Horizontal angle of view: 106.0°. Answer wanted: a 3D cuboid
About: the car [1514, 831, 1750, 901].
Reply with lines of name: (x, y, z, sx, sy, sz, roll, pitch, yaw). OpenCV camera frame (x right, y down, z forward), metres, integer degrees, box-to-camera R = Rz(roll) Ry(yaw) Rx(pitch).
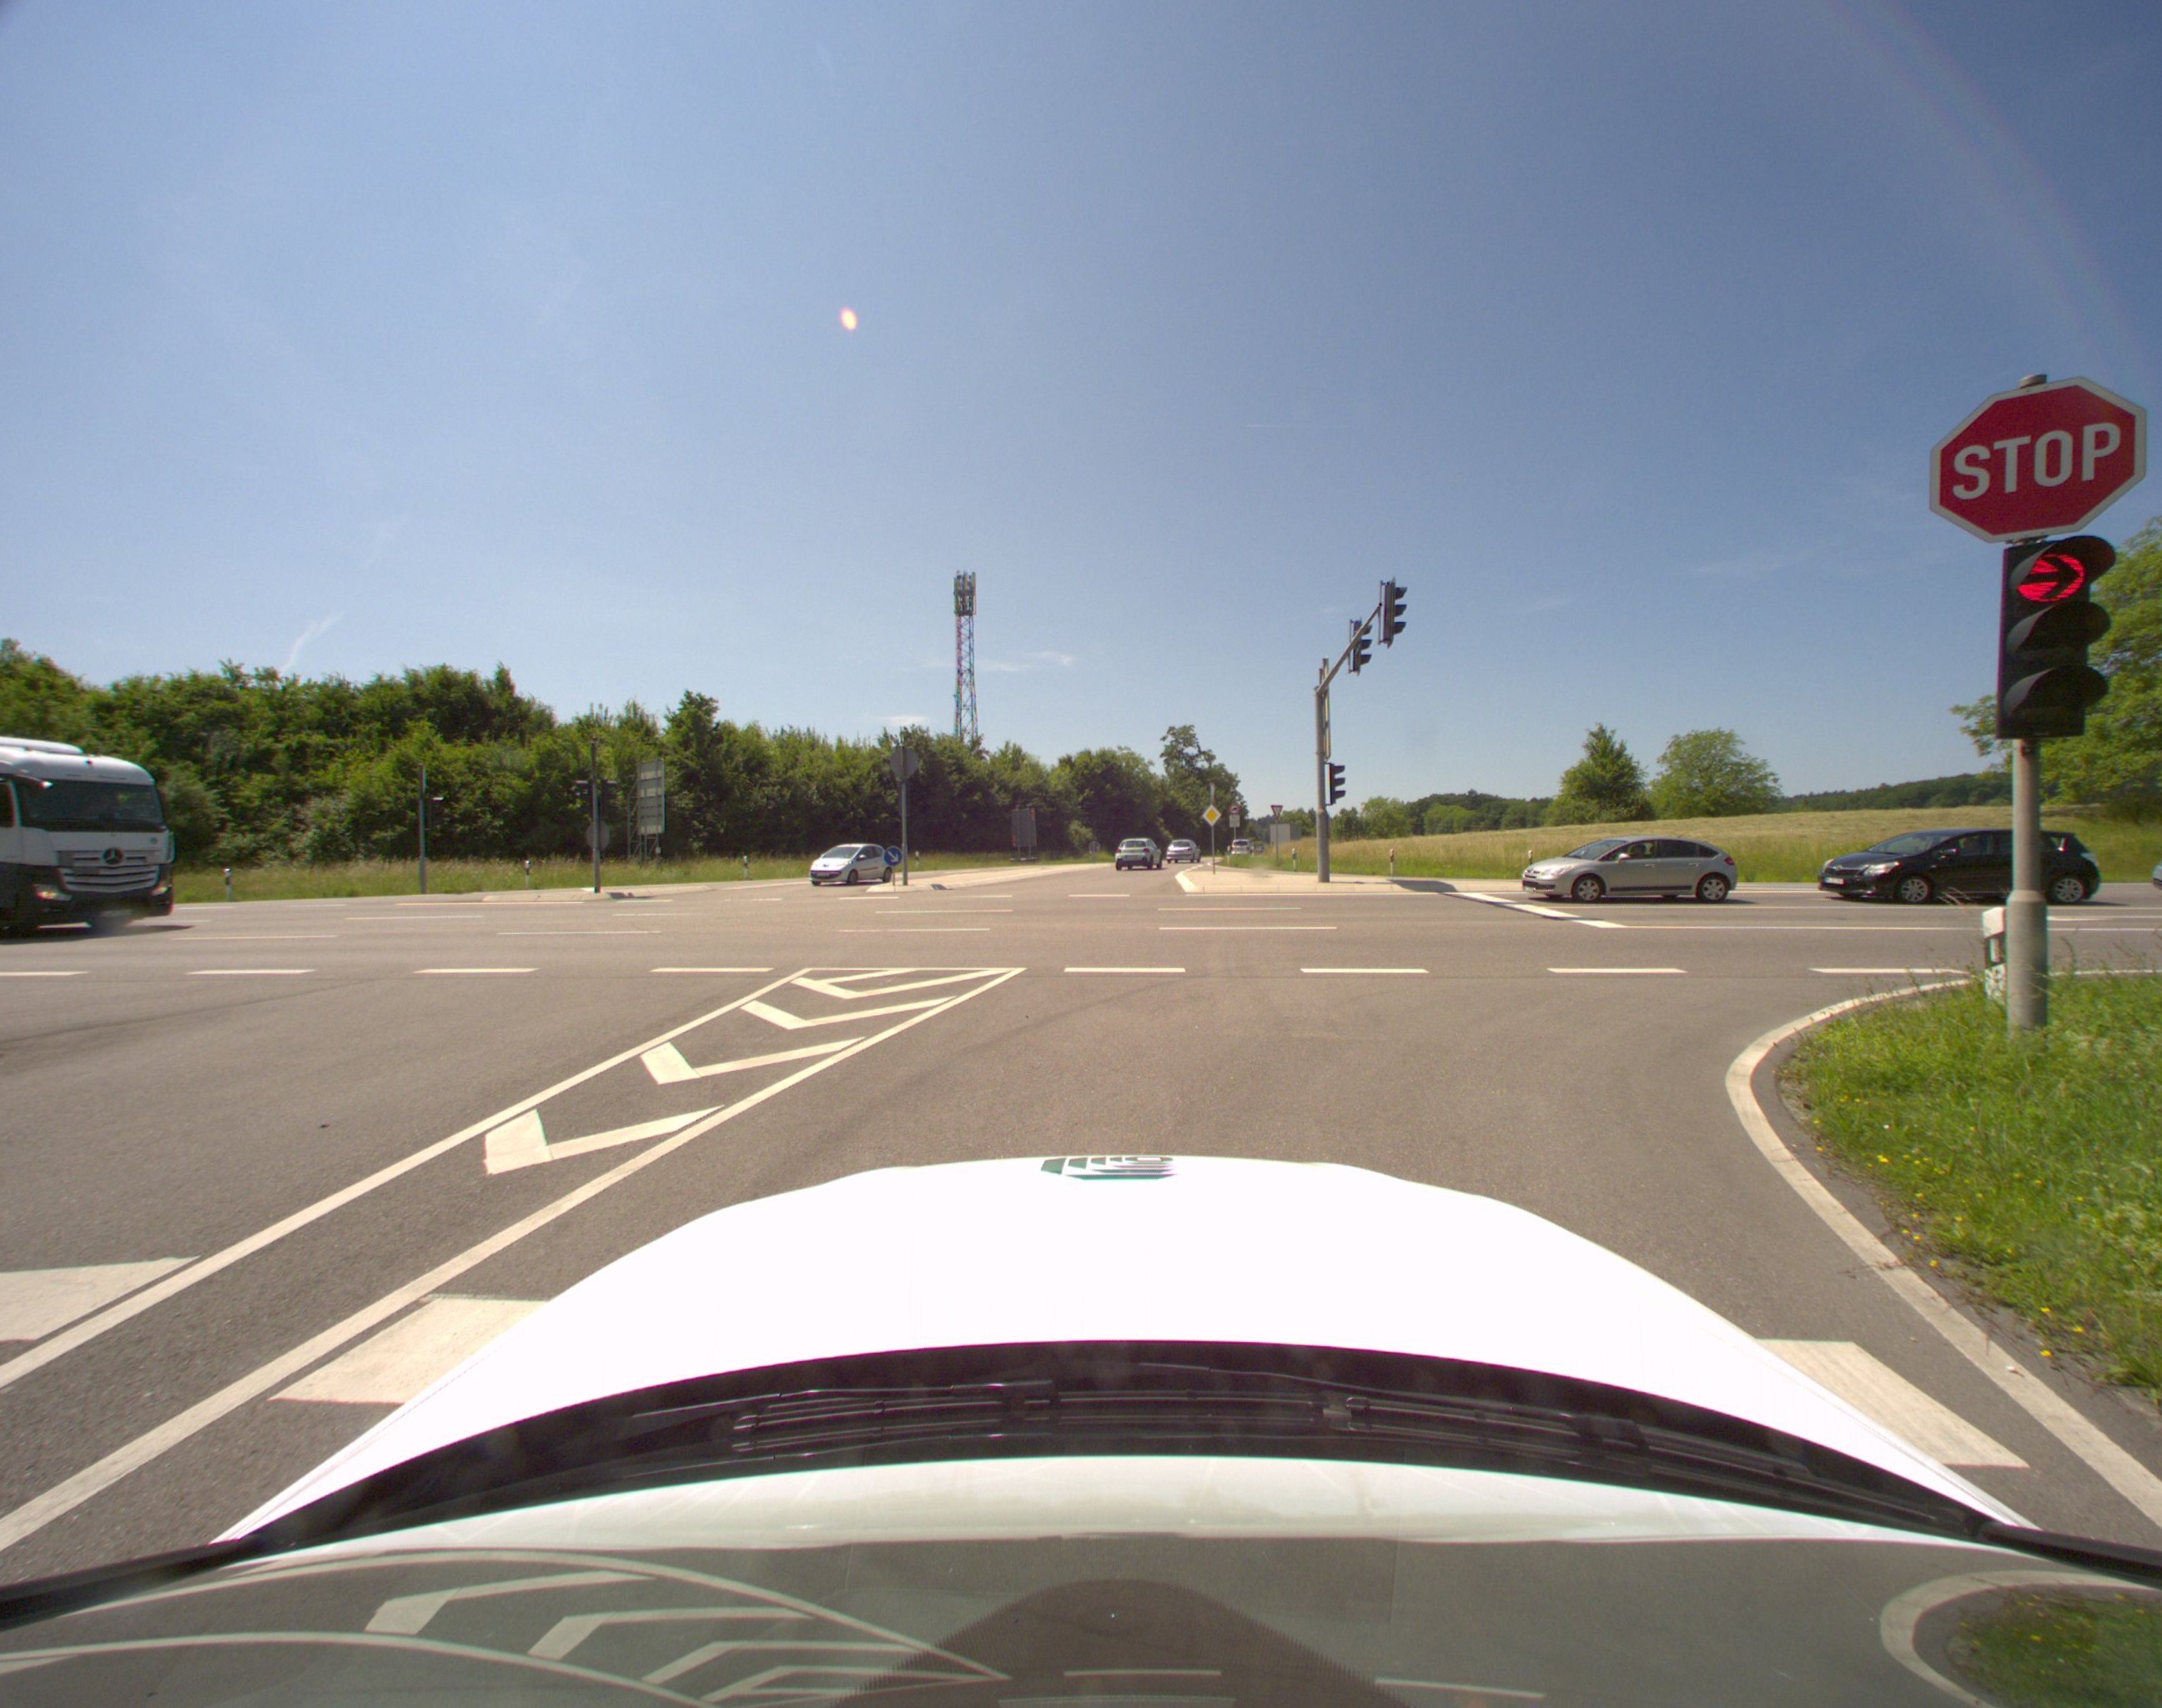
car: (12.382, 0.246, 18.531, 4.135, 1.469, 1.733, 0, 2, 6)

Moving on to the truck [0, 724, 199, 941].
truck: (-22.511, -0.382, 16.432, 6.243, 4.036, 2.660, -1, 1, -2)

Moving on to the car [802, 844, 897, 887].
car: (-8.286, 0.383, 29.439, 1.552, 1.370, 3.548, -1, 2, 18)

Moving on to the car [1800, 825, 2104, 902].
car: (18.641, 0.171, 17.644, 4.342, 1.552, 1.734, 0, 2, 9)

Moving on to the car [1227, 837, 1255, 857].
car: (14.223, -0.663, 72.131, 1.797, 1.624, 4.081, -1, 2, 20)

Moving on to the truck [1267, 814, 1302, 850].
truck: (26.219, -2.731, 104.387, 3.100, 4.172, 16.766, -1, 1, 18)

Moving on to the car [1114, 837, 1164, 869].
car: (2.835, -0.099, 38.913, 1.717, 1.404, 4.002, 0, 2, 14)

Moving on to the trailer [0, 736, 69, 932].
trailer: (-29.066, -0.284, 16.214, 13.756, 4.036, 2.659, -1, 1, -2)

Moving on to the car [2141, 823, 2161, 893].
car: (25.845, 0.105, 17.304, 3.984, 1.552, 1.660, 0, 2, 9)

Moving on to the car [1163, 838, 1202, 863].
car: (6.331, -0.242, 50.384, 1.798, 1.413, 3.801, -1, 2, 16)
